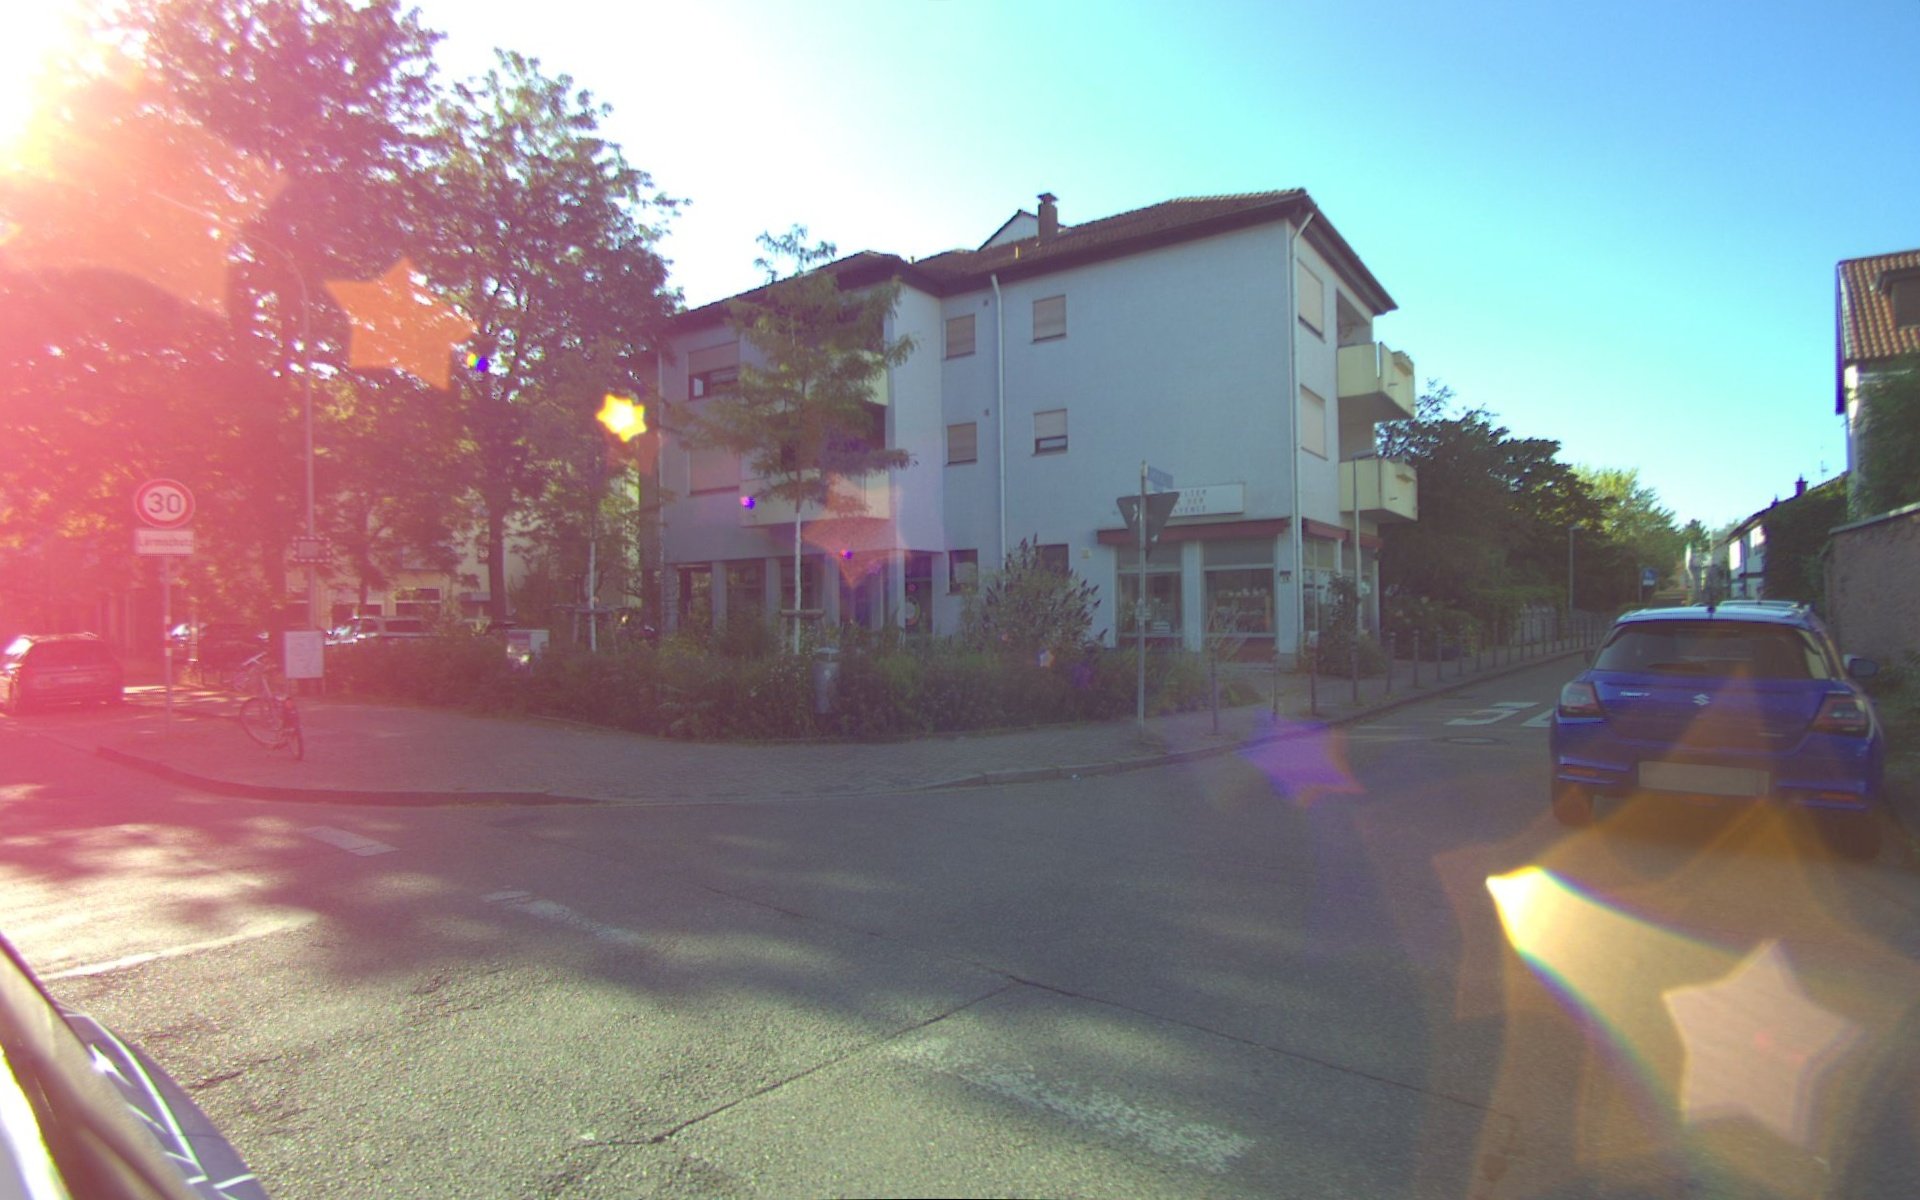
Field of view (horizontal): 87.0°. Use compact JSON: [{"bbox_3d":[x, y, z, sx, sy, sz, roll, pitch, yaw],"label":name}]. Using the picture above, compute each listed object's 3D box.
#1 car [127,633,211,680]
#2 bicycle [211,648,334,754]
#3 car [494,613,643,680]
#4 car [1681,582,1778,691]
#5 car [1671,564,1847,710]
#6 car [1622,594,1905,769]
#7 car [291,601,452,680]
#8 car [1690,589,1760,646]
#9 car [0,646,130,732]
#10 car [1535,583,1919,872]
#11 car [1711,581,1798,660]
[{"bbox_3d":[-25.927,1.818,33.134,3.636,1.419,1.505,-2,-1,41],"label":"car"},{"bbox_3d":[-7.515,1.055,11.031,1.941,1.010,0.696,-2,0,44],"label":"bicycle"},{"bbox_3d":[-12.226,1.438,31.585,4.303,1.963,2.005,-2,-1,28],"label":"car"},{"bbox_3d":[14.813,0.628,19.536,1.385,1.899,3.065,-1,1,37],"label":"car"},{"bbox_3d":[12.634,0.547,16.078,1.923,2.029,3.625,-3,-2,38],"label":"car"},{"bbox_3d":[8.626,0.734,10.877,1.999,1.512,3.946,-3,-2,41],"label":"car"},{"bbox_3d":[-15.581,1.075,26.698,4.896,1.909,1.827,-3,-1,36],"label":"car"},{"bbox_3d":[28.873,0.644,38.301,1.837,2.029,3.632,-2,-1,34],"label":"car"},{"bbox_3d":[-18.282,1.715,20.336,3.995,1.503,1.680,-2,-2,39],"label":"car"},{"bbox_3d":[5.742,0.736,7.353,1.999,1.542,3.728,-3,-3,41],"label":"car"},{"bbox_3d":[21.765,0.557,27.835,1.560,2.029,3.726,-2,-2,34],"label":"car"}]
